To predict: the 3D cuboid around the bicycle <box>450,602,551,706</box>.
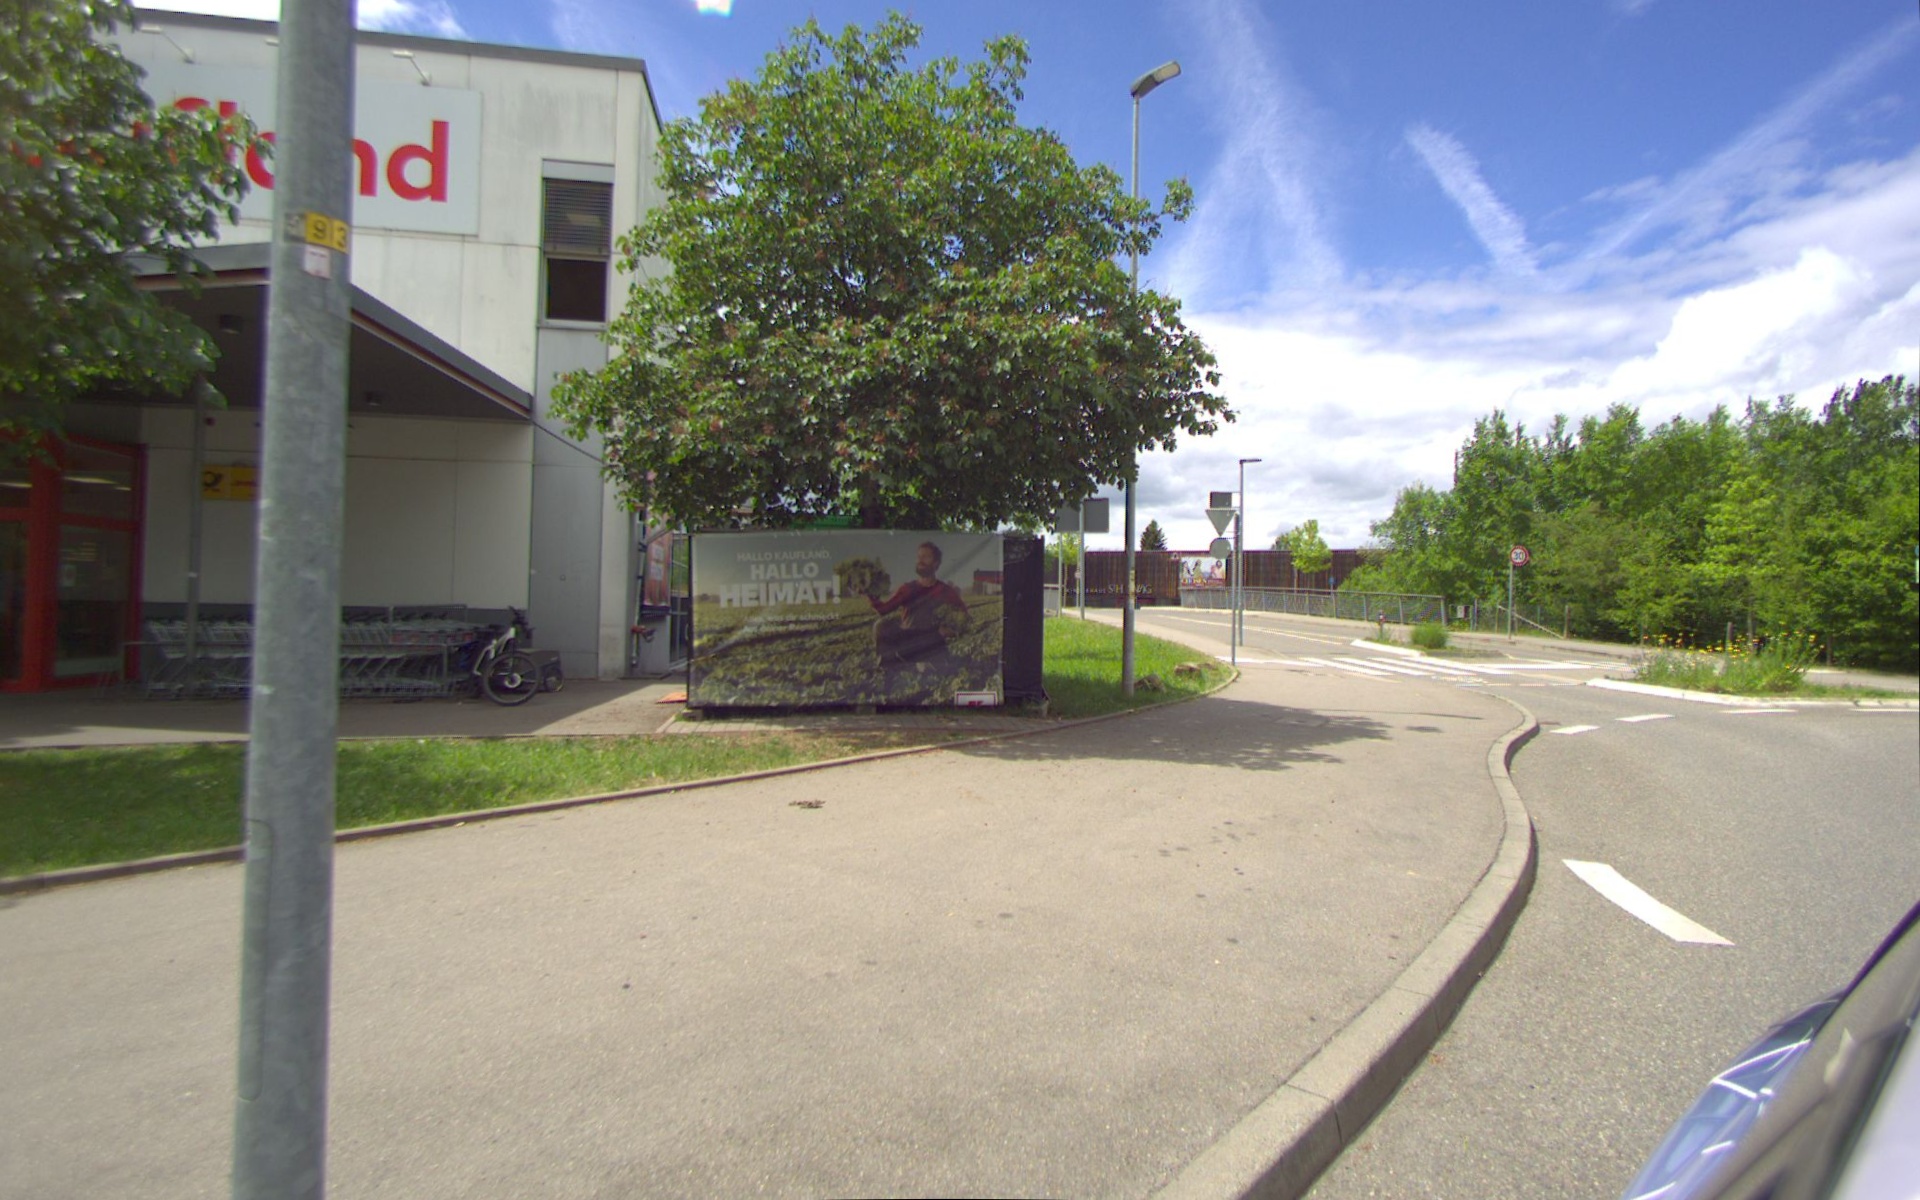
[{"bbox_3d":[-5.950,0.672,13.069,0.702,1.250,1.769,1,-2,-41],"label":"bicycle"}]
